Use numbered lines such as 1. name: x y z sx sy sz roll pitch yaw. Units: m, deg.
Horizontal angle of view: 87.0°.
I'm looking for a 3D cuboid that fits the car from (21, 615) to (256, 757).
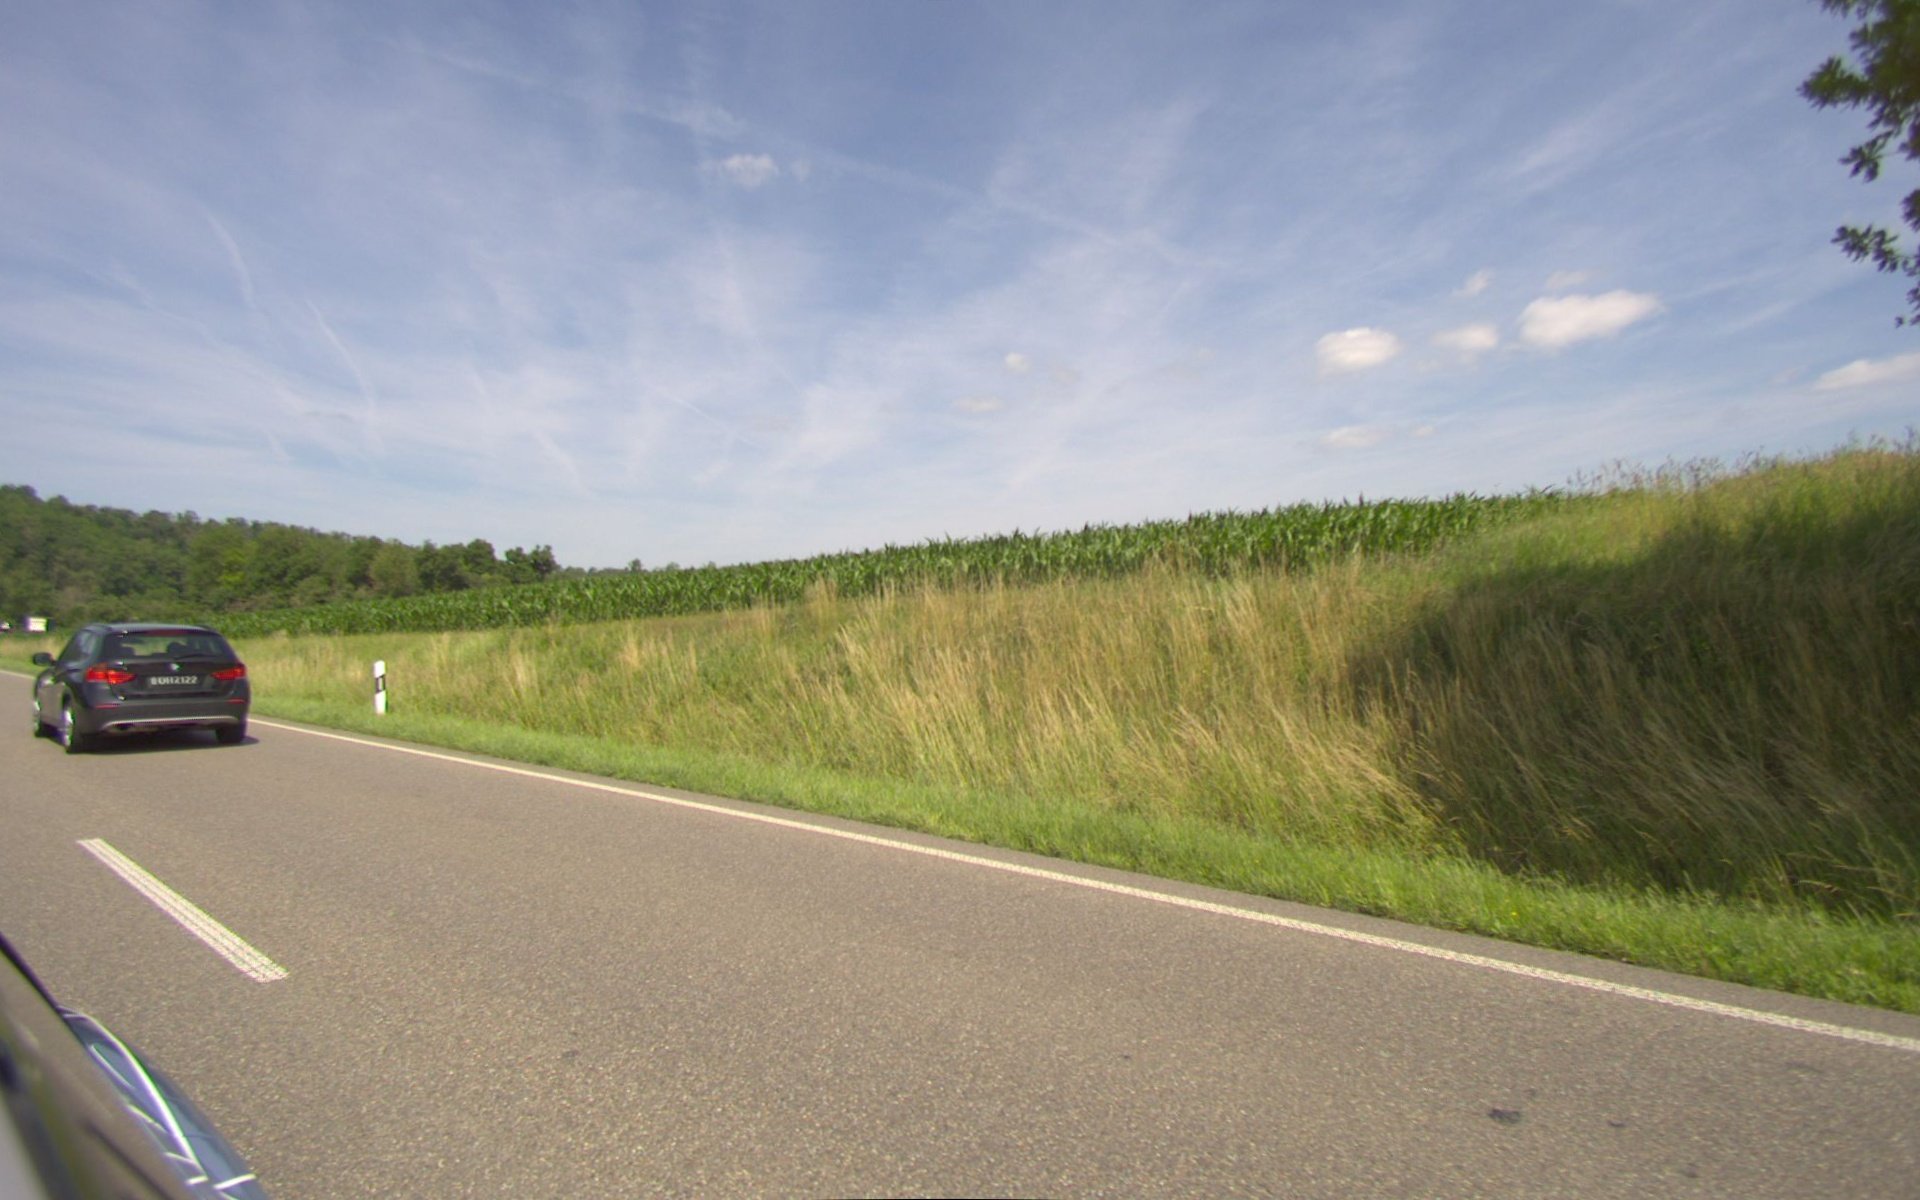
1. car: -10.734 1.025 13.107 4.356 1.546 1.639 -2 -3 41
